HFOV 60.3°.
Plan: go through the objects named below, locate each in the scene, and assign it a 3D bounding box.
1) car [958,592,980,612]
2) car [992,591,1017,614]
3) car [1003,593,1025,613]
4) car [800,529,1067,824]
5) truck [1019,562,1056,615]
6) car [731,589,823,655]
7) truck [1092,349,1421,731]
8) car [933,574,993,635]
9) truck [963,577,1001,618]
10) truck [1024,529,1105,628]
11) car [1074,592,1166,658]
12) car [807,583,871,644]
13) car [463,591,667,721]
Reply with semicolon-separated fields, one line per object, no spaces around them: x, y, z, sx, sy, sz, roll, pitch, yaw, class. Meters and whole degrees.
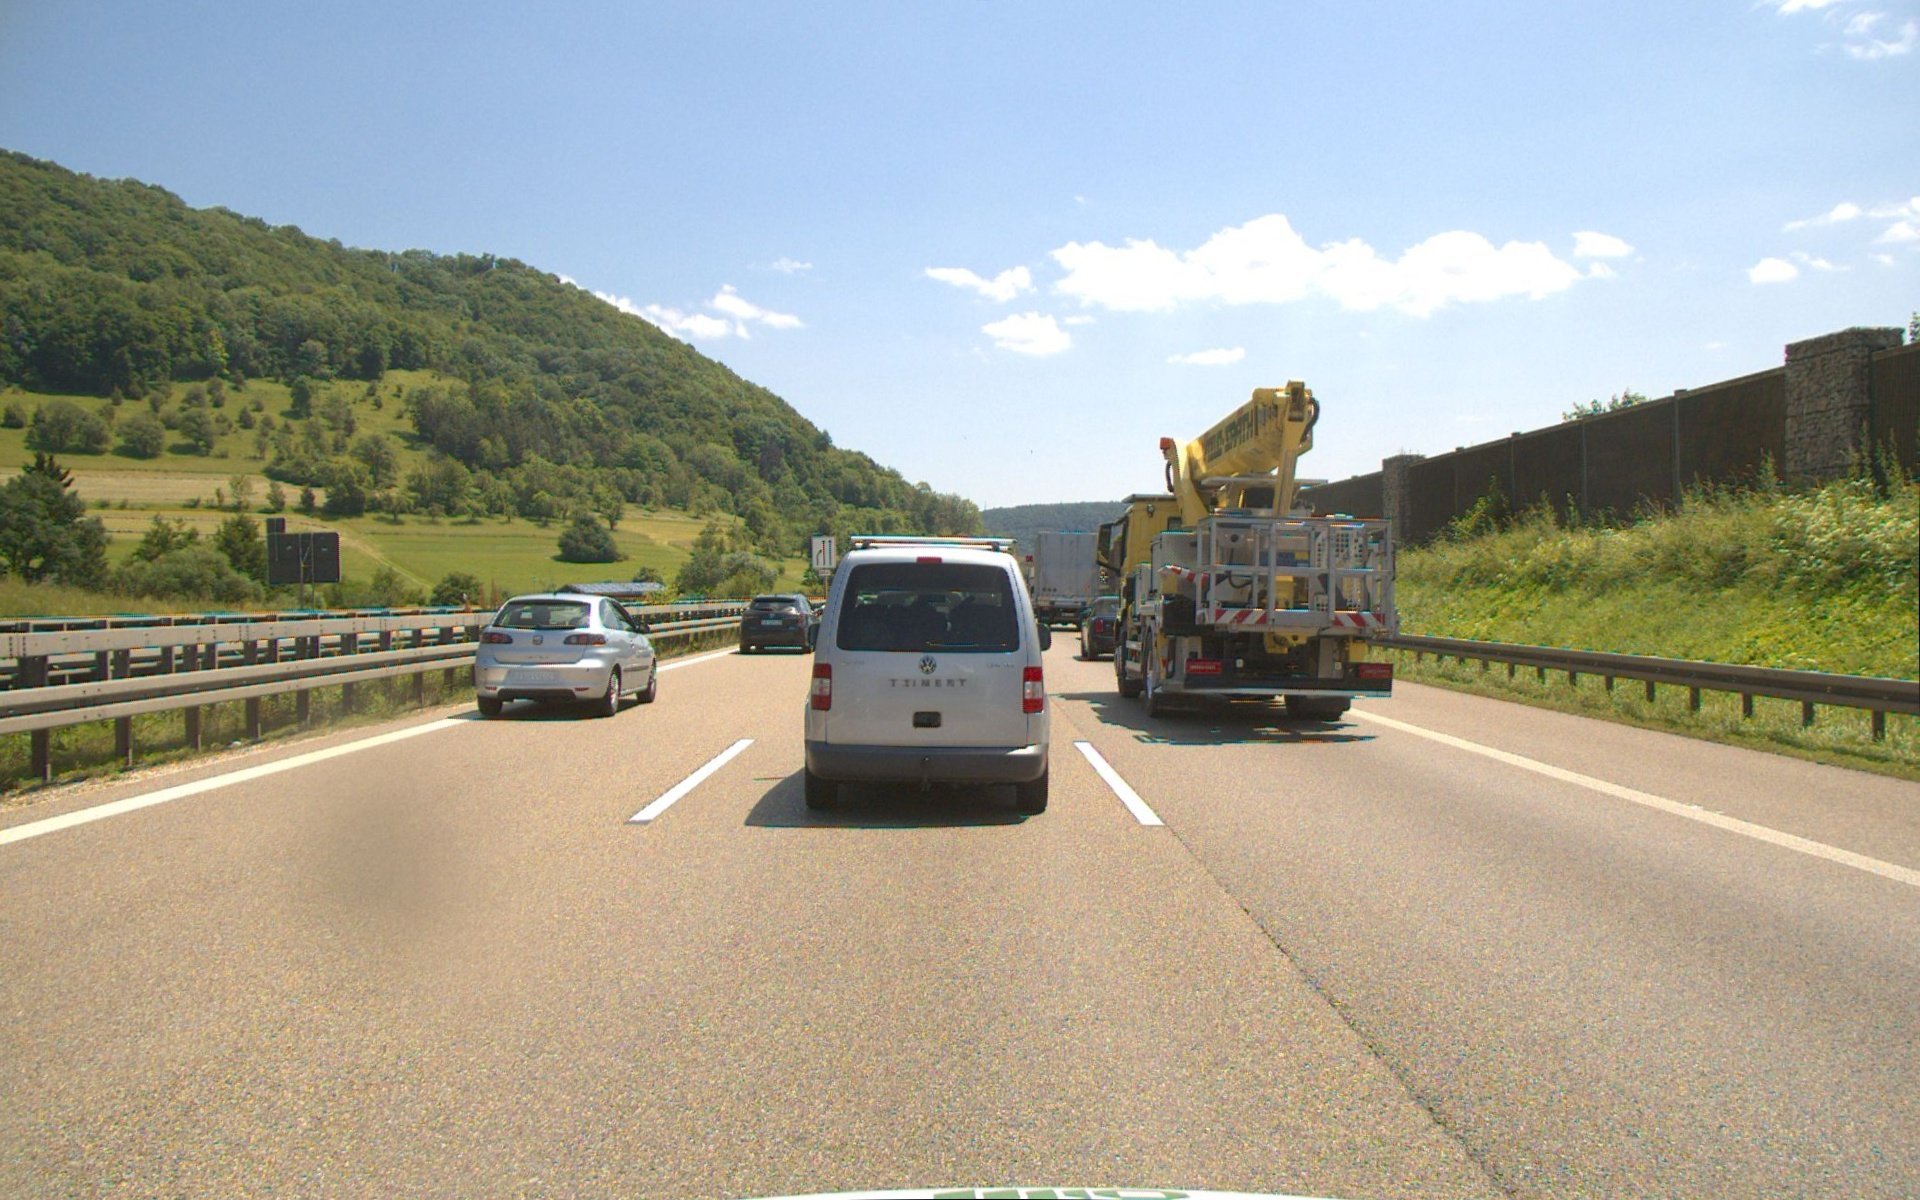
0.849;0.223;154.206;1.953;1.837;4.000;1;0;0;car
3.680;0.202;137.611;1.953;1.837;4.000;1;0;0;car
5.071;0.307;156.791;1.953;1.837;4.000;1;0;0;car
-0.199;0.485;12.691;1.720;1.900;3.999;0;0;-1;car
5.004;-0.695;107.883;1.953;3.308;6.798;1;0;-1;truck
-4.478;0.514;41.031;1.886;1.525;3.999;1;0;-1;car
3.466;-0.647;21.759;2.649;4.011;8.720;0;0;-1;truck
0.072;0.136;56.631;1.953;2.010;3.999;0;0;-1;car
1.457;-0.173;107.434;2.340;2.585;5.941;0;0;2;truck
4.304;-0.837;69.811;2.880;3.890;8.236;1;0;0;truck
3.706;0.553;38.854;1.750;1.484;3.770;0;0;-1;car
-4.179;0.441;57.673;1.953;2.049;3.999;-1;0;-1;car
-4.814;0.629;20.663;1.661;1.470;3.861;0;0;-1;car
